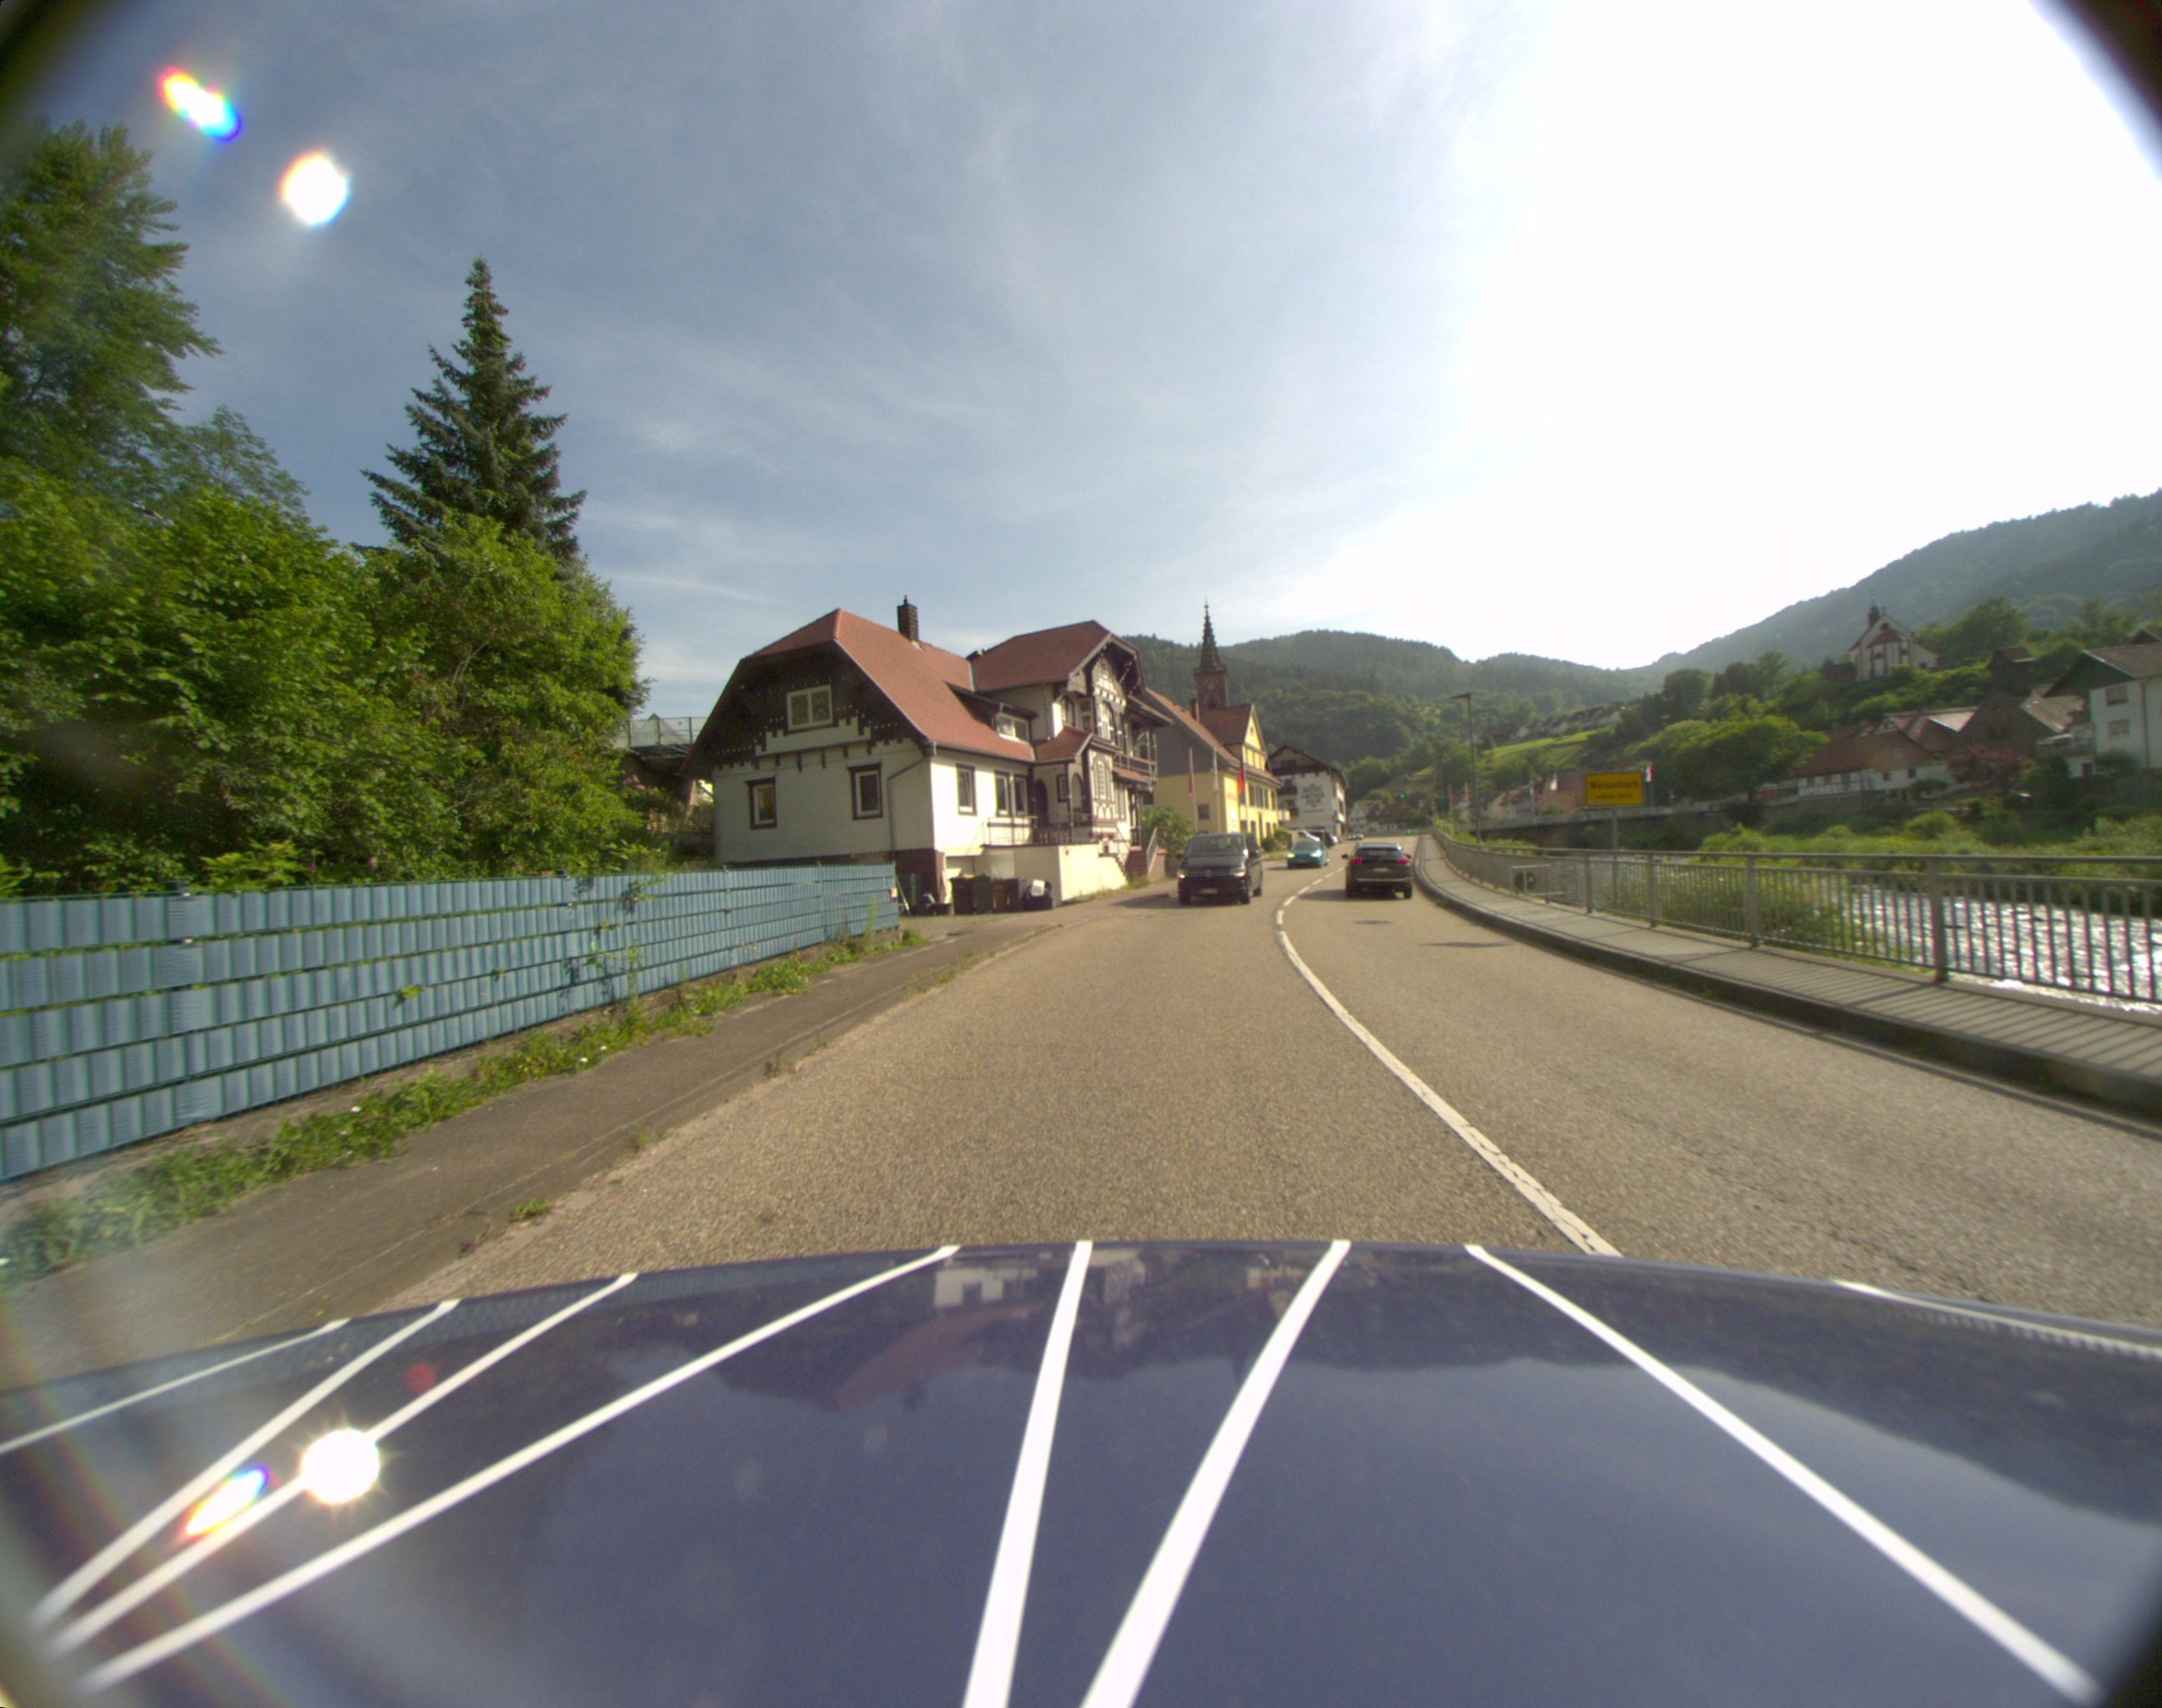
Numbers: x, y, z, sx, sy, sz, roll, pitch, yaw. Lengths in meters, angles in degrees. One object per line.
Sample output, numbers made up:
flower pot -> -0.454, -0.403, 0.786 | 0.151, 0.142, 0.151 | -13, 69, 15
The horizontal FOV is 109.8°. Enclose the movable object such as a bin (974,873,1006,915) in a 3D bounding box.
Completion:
movable object such as a bin -> -2.449, 1.081, 20.471 | 0.478, 1.056, 0.753 | -4, 1, 20

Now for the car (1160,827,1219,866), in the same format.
car -> 6.038, -0.442, 41.789 | 1.910, 1.986, 4.842 | 1, 2, 25

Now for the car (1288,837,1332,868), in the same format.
car -> 12.537, -0.089, 41.421 | 1.680, 1.513, 3.871 | -1, 2, 26

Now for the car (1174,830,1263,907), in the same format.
car -> 4.080, 0.327, 21.902 | 1.885, 1.953, 4.871 | -1, 1, 18

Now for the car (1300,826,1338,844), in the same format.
car -> 25.861, -2.109, 82.744 | 3.749, 1.883, 1.373 | 1, 3, 26

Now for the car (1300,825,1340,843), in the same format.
car -> 26.789, -2.252, 85.202 | 3.989, 1.871, 1.687 | 0, 2, 27

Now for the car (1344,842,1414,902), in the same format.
car -> 9.066, 0.466, 23.372 | 1.817, 1.634, 4.005 | 1, 1, 19

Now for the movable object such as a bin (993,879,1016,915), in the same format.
movable object such as a bin -> -2.037, 1.139, 20.264 | 0.368, 0.895, 0.548 | -4, 1, 14

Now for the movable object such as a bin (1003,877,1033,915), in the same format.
movable object such as a bin -> -1.643, 1.089, 19.916 | 0.472, 0.931, 0.653 | -4, 1, 20

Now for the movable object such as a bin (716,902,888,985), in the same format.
movable object such as a bin -> -3.975, 1.259, 11.144 | 0.856, 0.842, 2.541 | -4, 0, 20

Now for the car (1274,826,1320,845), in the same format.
car -> 23.032, -2.034, 81.040 | 4.445, 1.948, 1.716 | 2, 3, 26

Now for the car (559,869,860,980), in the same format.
car -> -6.103, 1.116, 13.079 | 4.331, 1.460, 1.835 | -3, -1, -16

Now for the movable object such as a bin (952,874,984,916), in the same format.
movable object such as a bin -> -3.040, 1.112, 20.537 | 0.478, 1.056, 0.753 | -4, 1, 20
